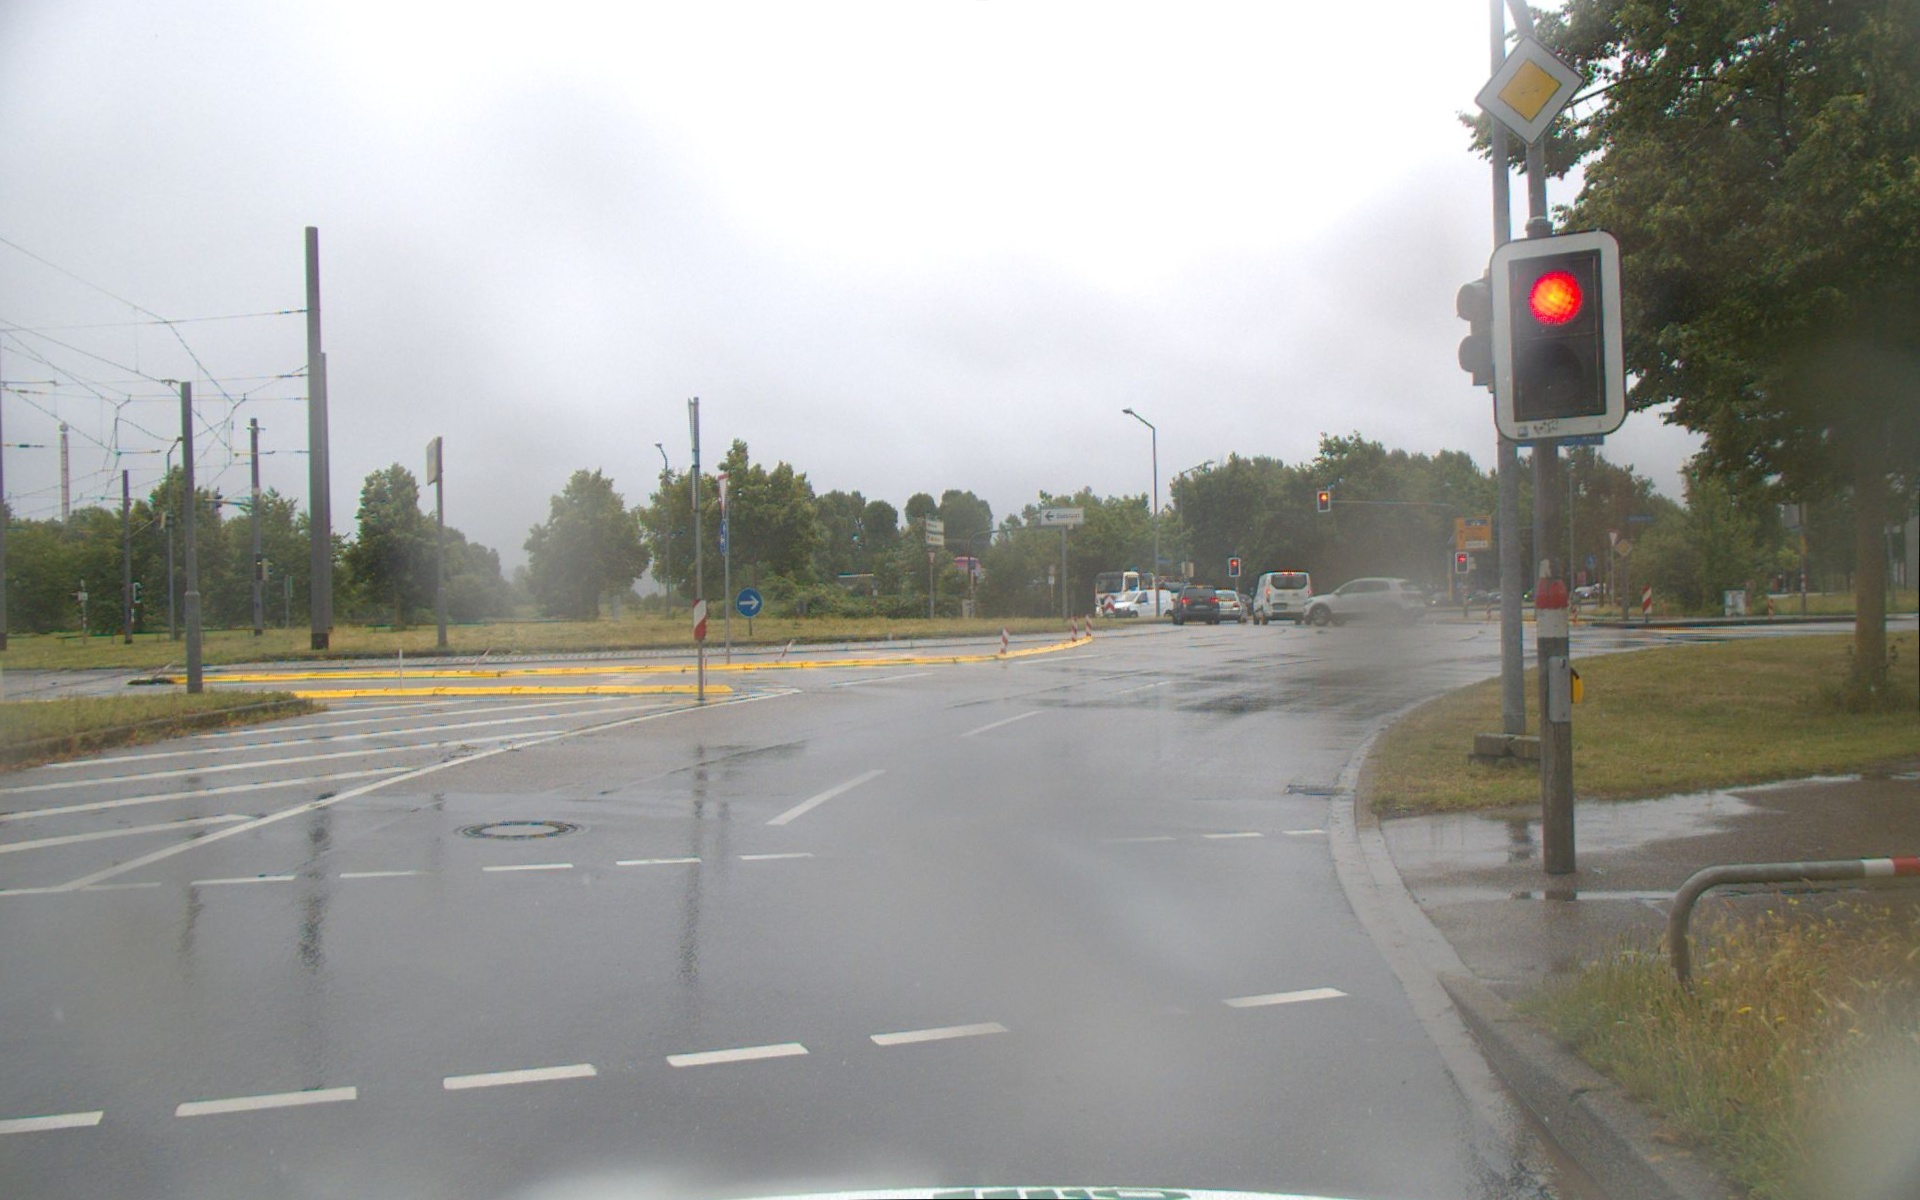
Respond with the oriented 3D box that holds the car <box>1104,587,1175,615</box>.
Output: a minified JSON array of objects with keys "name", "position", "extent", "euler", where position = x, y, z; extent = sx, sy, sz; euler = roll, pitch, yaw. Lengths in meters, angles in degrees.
[{"name":"car","position":[10.261,0.092,94.446],"extent":[1.584,1.518,4.518],"euler":[1,0,44]}]

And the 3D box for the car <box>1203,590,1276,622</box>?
[{"name":"car","position":[12.851,0.273,76.035],"extent":[3.085,1.396,1.379],"euler":[1,0,-27]}]

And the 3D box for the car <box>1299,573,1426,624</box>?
[{"name":"car","position":[13.660,-0.061,56.216],"extent":[3.867,1.676,1.680],"euler":[1,0,35]}]

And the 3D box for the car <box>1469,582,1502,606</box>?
[{"name":"car","position":[45.970,-0.519,144.668],"extent":[1.758,2.049,3.659],"euler":[1,0,36]}]

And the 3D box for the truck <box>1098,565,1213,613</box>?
[{"name":"truck","position":[11.994,-0.640,100.839],"extent":[8.730,2.759,1.967],"euler":[1,-1,-45]}]

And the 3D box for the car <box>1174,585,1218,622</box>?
[{"name":"car","position":[10.086,0.143,70.766],"extent":[1.653,1.518,3.253],"euler":[1,0,4]}]

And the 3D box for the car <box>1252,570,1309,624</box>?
[{"name":"car","position":[12.723,-0.110,65.768],"extent":[1.746,2.072,4.002],"euler":[1,0,4]}]
